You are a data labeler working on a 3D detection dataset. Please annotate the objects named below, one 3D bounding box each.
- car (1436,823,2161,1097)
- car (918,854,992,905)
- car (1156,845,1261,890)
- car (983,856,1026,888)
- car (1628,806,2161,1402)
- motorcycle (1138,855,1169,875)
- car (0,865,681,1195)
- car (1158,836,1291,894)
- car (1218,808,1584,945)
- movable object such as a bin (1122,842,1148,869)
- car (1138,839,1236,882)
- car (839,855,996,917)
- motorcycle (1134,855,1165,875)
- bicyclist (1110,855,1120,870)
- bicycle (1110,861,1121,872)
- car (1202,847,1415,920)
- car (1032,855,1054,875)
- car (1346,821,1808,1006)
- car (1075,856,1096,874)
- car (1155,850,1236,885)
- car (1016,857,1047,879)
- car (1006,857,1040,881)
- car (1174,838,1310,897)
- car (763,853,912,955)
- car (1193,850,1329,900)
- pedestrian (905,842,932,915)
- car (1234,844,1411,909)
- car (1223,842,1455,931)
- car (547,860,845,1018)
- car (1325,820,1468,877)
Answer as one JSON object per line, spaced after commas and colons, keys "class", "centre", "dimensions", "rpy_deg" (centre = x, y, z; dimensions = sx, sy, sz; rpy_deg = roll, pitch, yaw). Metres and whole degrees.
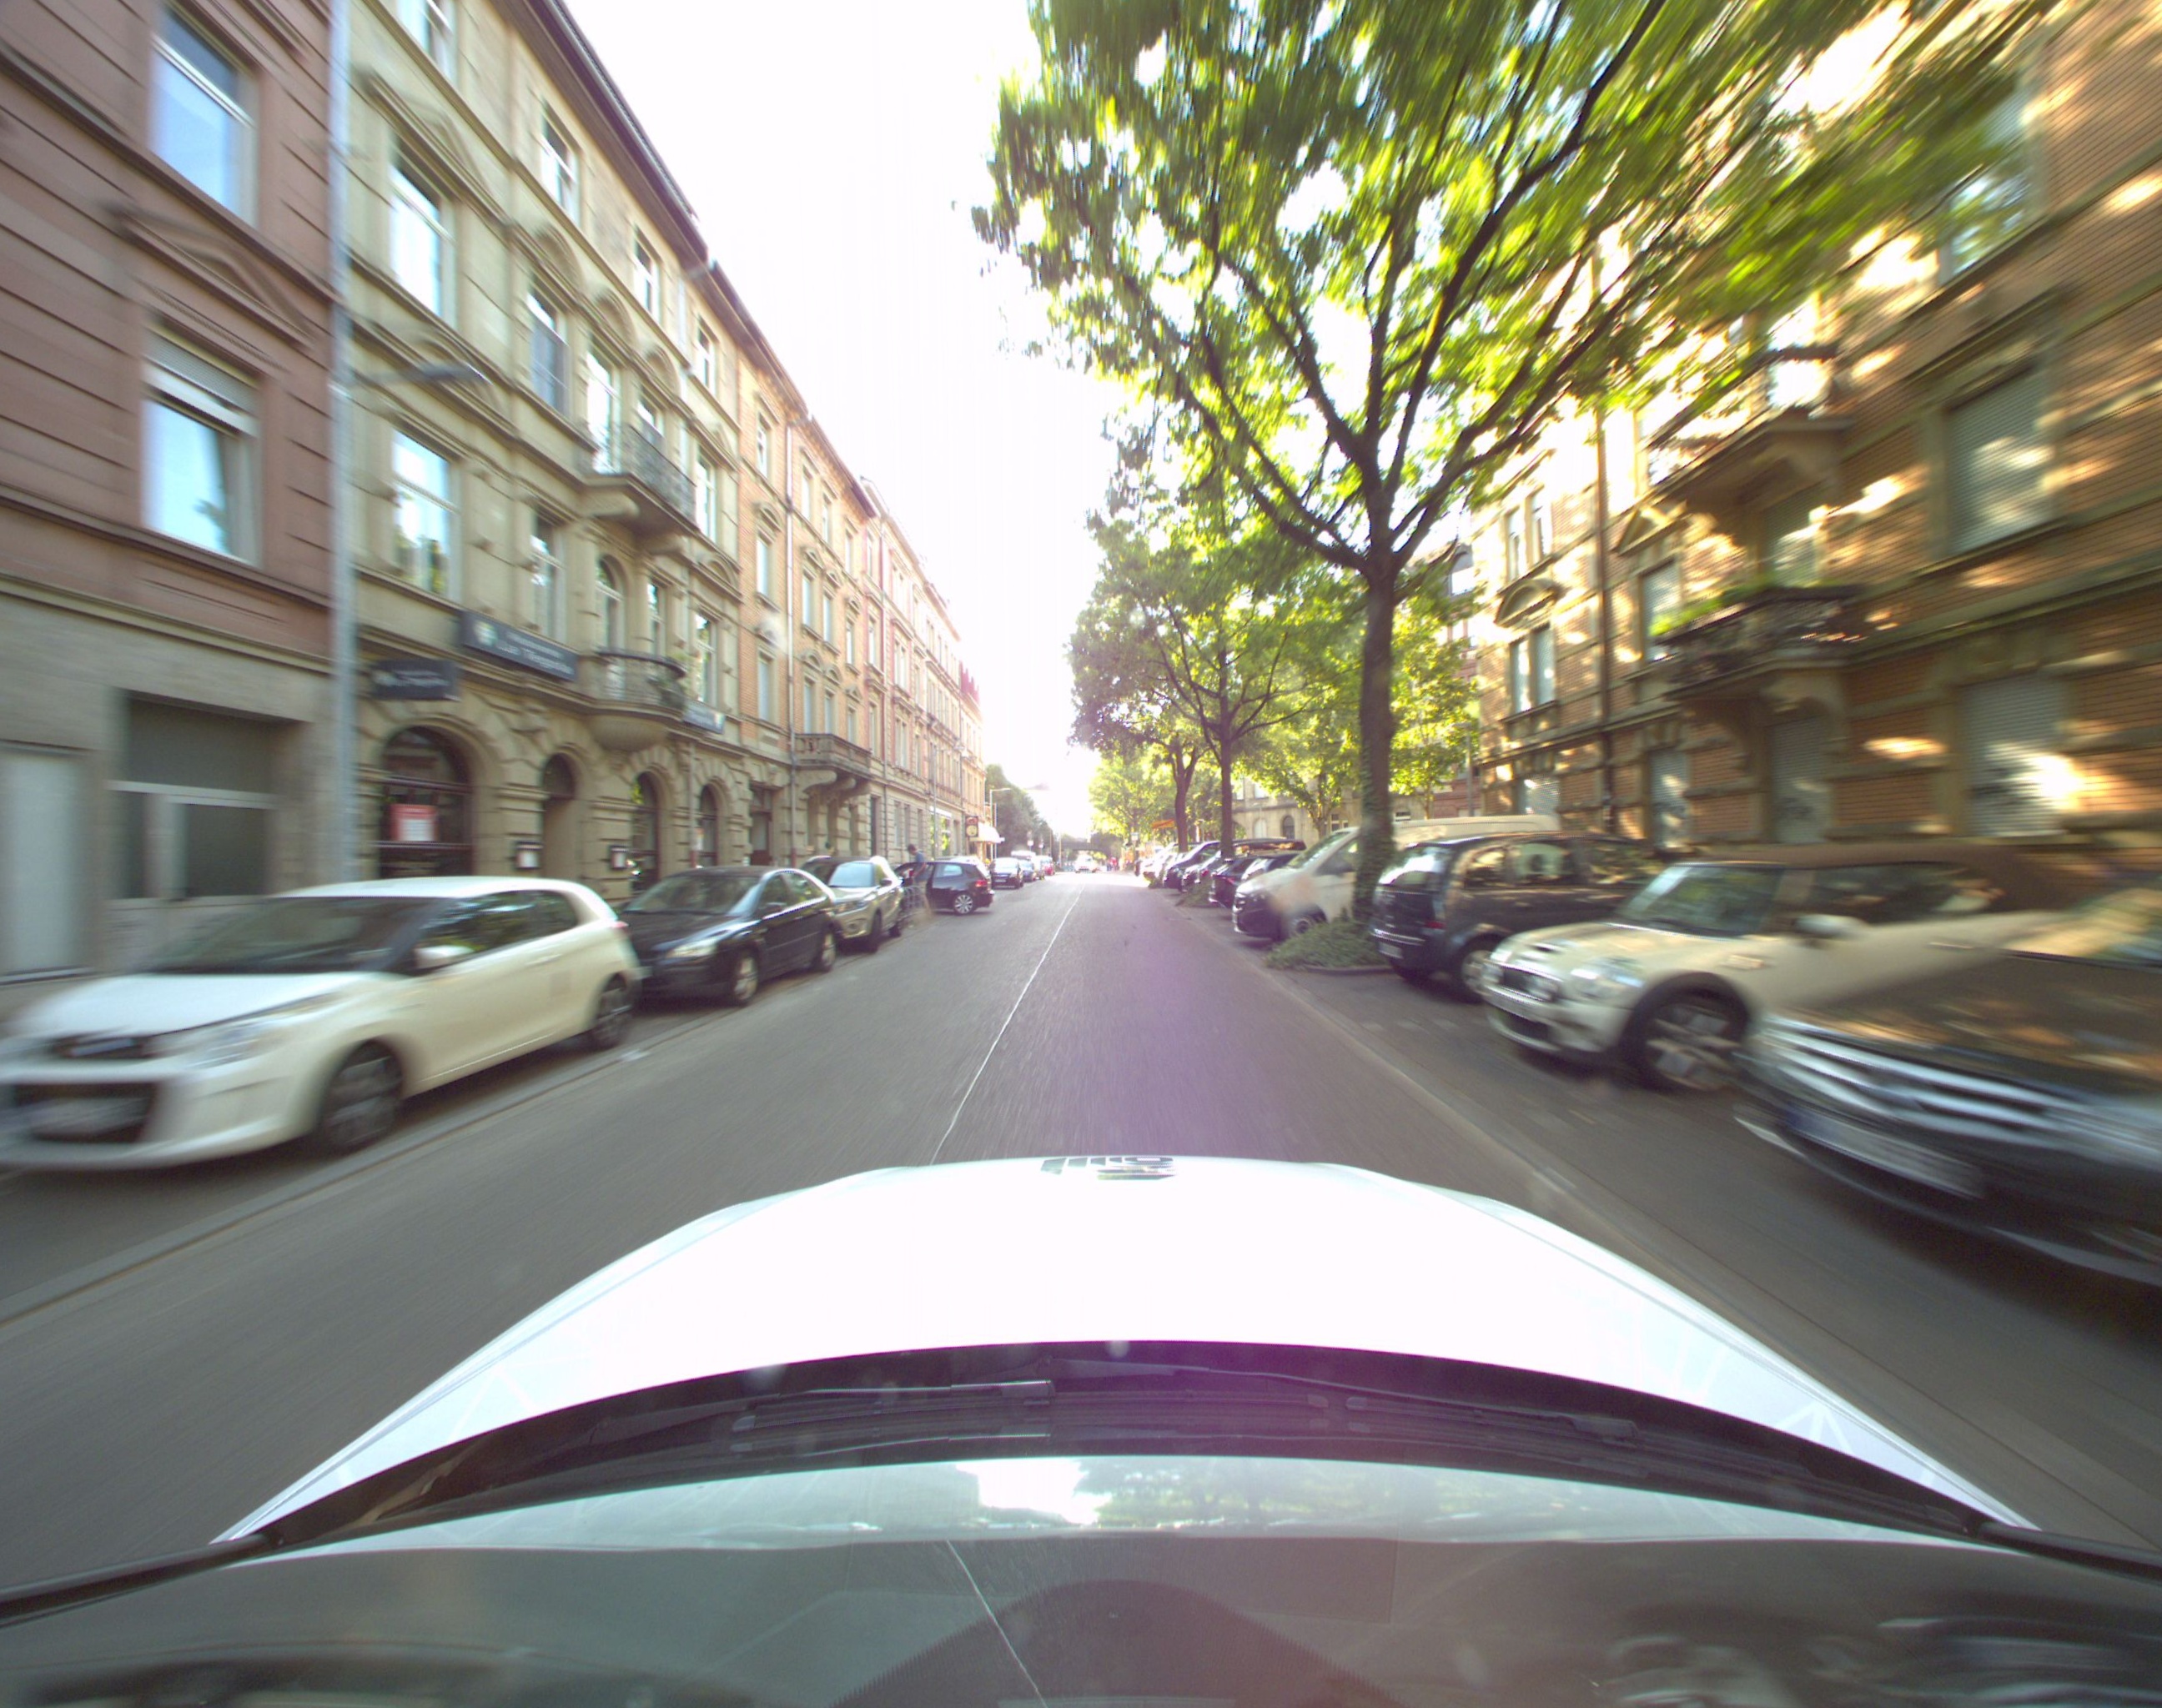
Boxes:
{"class": "car", "centre": [4.950, 0.608, 5.761], "dimensions": [4.096, 1.503, 1.809], "rpy_deg": [-1, 0, -4]}
{"class": "car", "centre": [-4.208, 0.798, 27.754], "dimensions": [1.735, 1.567, 3.896], "rpy_deg": [-1, 0, 2]}
{"class": "car", "centre": [5.178, 0.531, 33.374], "dimensions": [3.975, 1.692, 1.800], "rpy_deg": [-1, 0, -1]}
{"class": "car", "centre": [-3.760, 0.867, 40.520], "dimensions": [1.698, 1.454, 4.020], "rpy_deg": [-1, 0, 0]}
{"class": "car", "centre": [5.016, 0.575, 3.074], "dimensions": [4.646, 1.503, 1.931], "rpy_deg": [-1, 0, -2]}
{"class": "motorcycle", "centre": [4.873, 0.756, 54.960], "dimensions": [2.010, 1.327, 0.620], "rpy_deg": [-1, 0, -3]}
{"class": "car", "centre": [-4.700, 0.864, 5.849], "dimensions": [1.576, 1.473, 4.001], "rpy_deg": [-1, 0, 1]}
{"class": "car", "centre": [5.313, 0.399, 30.582], "dimensions": [4.602, 2.013, 1.999], "rpy_deg": [-1, 0, -2]}
{"class": "car", "centre": [4.945, 0.397, 13.258], "dimensions": [5.073, 1.940, 2.158], "rpy_deg": [-1, -4, 1]}
{"class": "movable object such as a bin", "centre": [5.577, 0.132, 83.768], "dimensions": [1.979, 2.699, 3.122], "rpy_deg": [-1, -1, 14]}
{"class": "car", "centre": [5.596, 0.343, 43.377], "dimensions": [4.956, 2.096, 2.106], "rpy_deg": [-1, 0, 1]}
{"class": "car", "centre": [-4.407, 0.842, 22.432], "dimensions": [3.980, 1.529, 1.823], "rpy_deg": [-2, 0, -5]}
{"class": "motorcycle", "centre": [4.746, 0.787, 56.869], "dimensions": [2.017, 1.285, 0.904], "rpy_deg": [-3, 0, -1]}
{"class": "bicyclist", "centre": [3.123, 0.807, 74.744], "dimensions": [0.801, 1.383, 0.984], "rpy_deg": [0, -1, -4]}
{"class": "bicycle", "centre": [3.128, 1.168, 74.829], "dimensions": [0.801, 0.968, 2.106], "rpy_deg": [0, 0, -3]}
{"class": "car", "centre": [5.083, 0.646, 18.682], "dimensions": [4.353, 1.455, 1.934], "rpy_deg": [-2, 0, 1]}
{"class": "car", "centre": [-3.047, 0.888, 66.243], "dimensions": [1.664, 1.530, 3.998], "rpy_deg": [-1, 0, -1]}
{"class": "car", "centre": [5.034, 0.551, 8.600], "dimensions": [3.876, 1.649, 1.722], "rpy_deg": [-1, 0, -4]}
{"class": "car", "centre": [0.403, 0.941, 73.130], "dimensions": [1.743, 1.509, 4.001], "rpy_deg": [-1, 0, 1]}
{"class": "car", "centre": [5.650, 0.650, 40.593], "dimensions": [3.827, 1.595, 1.741], "rpy_deg": [-1, 0, 1]}
{"class": "car", "centre": [-3.382, 0.907, 55.911], "dimensions": [1.719, 1.437, 3.997], "rpy_deg": [1, 0, 2]}
{"class": "car", "centre": [-3.549, 0.901, 50.694], "dimensions": [1.759, 1.437, 4.300], "rpy_deg": [-1, 0, 0]}
{"class": "car", "centre": [5.493, 0.452, 28.173], "dimensions": [4.258, 1.885, 1.938], "rpy_deg": [-1, 0, -3]}
{"class": "car", "centre": [-4.258, 0.793, 14.878], "dimensions": [1.644, 1.574, 4.045], "rpy_deg": [1, 0, -3]}
{"class": "car", "centre": [5.563, 0.637, 25.611], "dimensions": [3.967, 1.448, 1.893], "rpy_deg": [-1, 0, 5]}
{"class": "pedestrian", "centre": [-4.251, 0.630, 21.345], "dimensions": [0.639, 1.887, 0.589], "rpy_deg": [-1, 0, -12]}
{"class": "car", "centre": [6.218, 0.566, 21.317], "dimensions": [4.066, 1.497, 1.844], "rpy_deg": [-2, 0, 1]}
{"class": "car", "centre": [5.044, 0.596, 16.203], "dimensions": [3.982, 1.474, 1.778], "rpy_deg": [-3, 0, -7]}
{"class": "car", "centre": [-4.345, 0.850, 9.970], "dimensions": [1.642, 1.473, 4.001], "rpy_deg": [1, 0, 1]}
{"class": "car", "centre": [14.893, -0.253, 38.683], "dimensions": [5.884, 2.537, 2.376], "rpy_deg": [-1, 0, -5]}
